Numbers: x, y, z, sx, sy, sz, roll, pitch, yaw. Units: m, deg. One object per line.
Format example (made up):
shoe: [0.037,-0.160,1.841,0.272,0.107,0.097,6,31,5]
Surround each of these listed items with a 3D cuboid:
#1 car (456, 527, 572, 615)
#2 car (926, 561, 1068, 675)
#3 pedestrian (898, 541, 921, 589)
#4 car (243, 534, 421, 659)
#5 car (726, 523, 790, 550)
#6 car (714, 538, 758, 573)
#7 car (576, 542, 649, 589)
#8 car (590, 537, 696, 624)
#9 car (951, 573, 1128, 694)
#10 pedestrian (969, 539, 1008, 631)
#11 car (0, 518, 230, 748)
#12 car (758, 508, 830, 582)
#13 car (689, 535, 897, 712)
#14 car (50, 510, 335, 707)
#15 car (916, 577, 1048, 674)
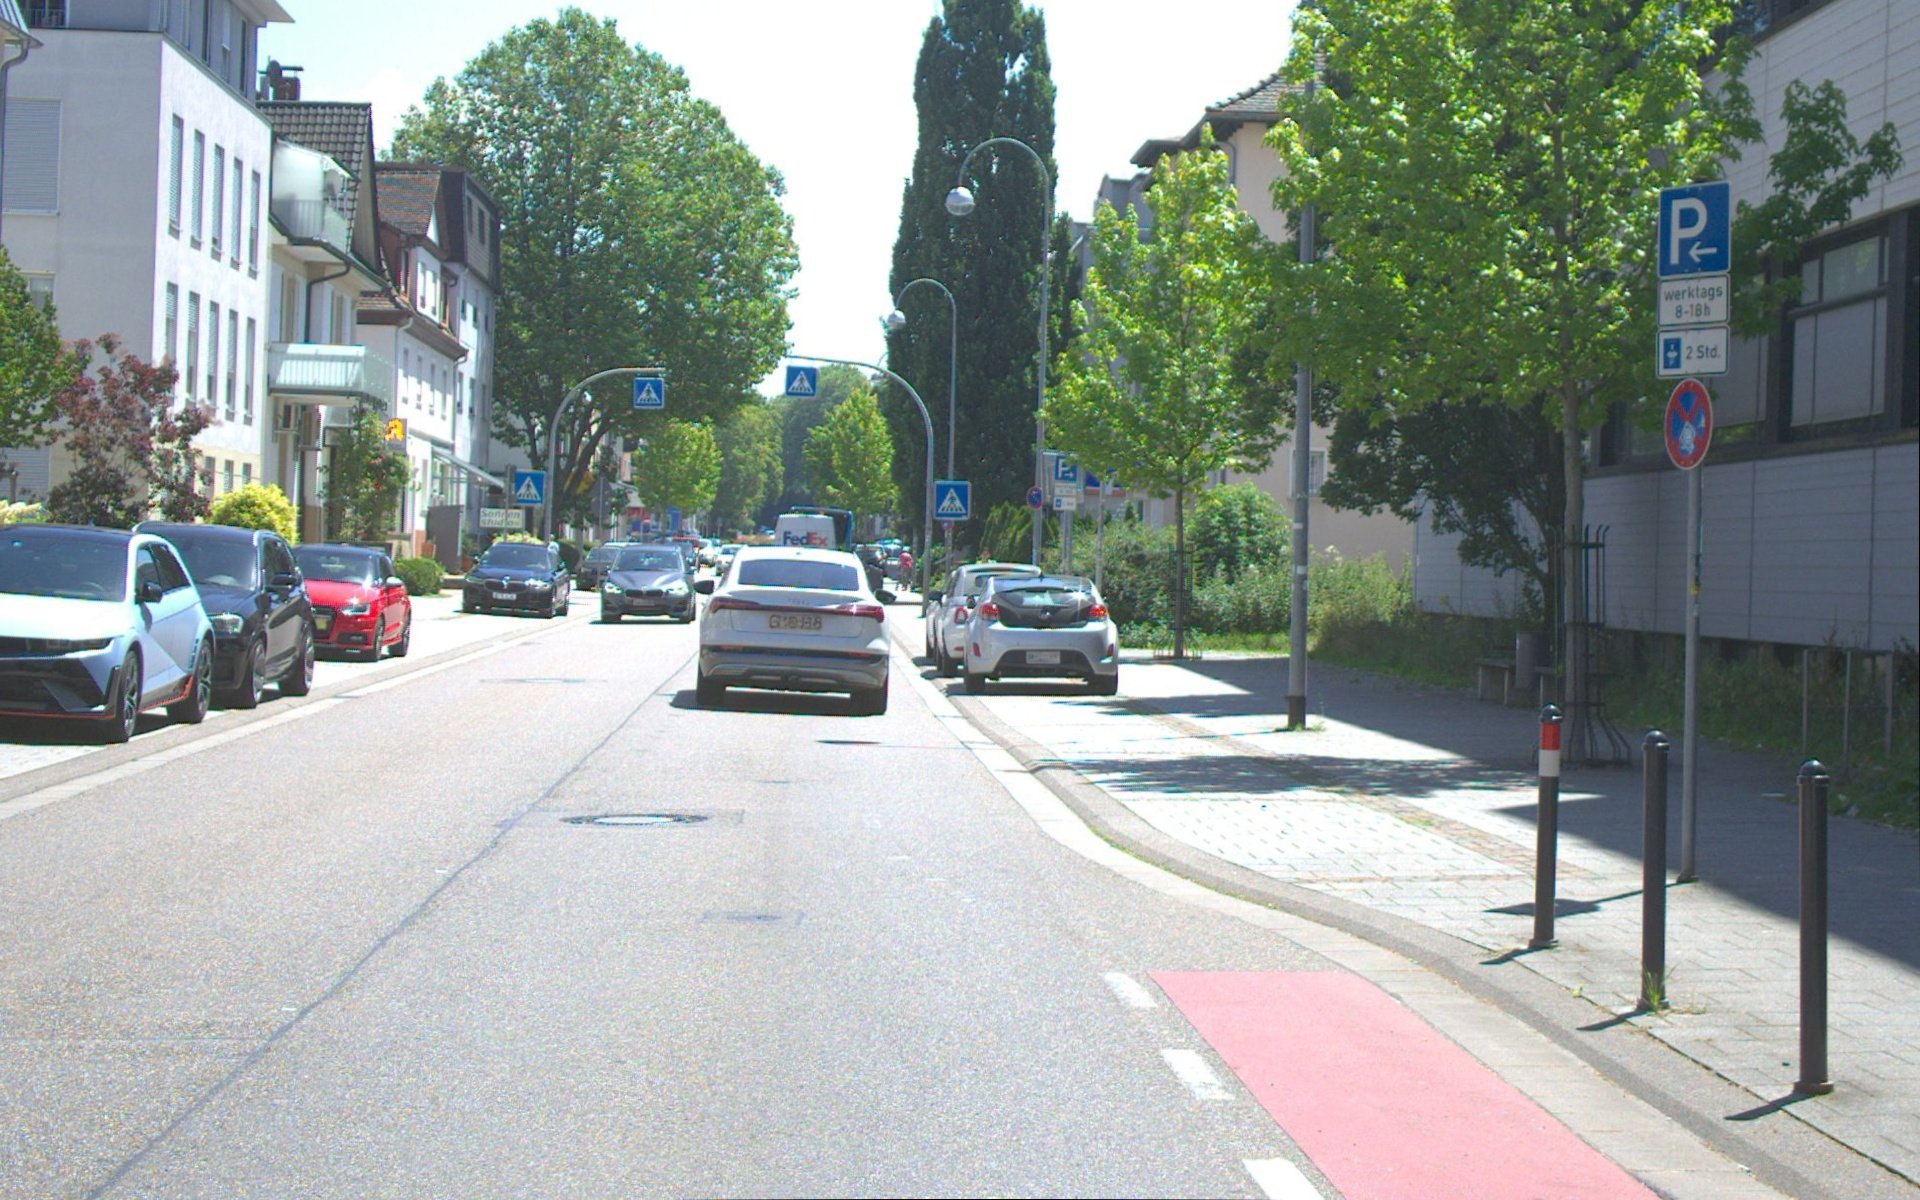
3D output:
car: [-9.252,-0.608,71.616,1.925,1.714,4.472,2,0,-2]
car: [0.470,0.222,47.456,1.658,1.483,4.346,1,1,-3]
pedestrian: [-1.841,-1.268,125.697,0.693,1.730,0.668,2,0,-7]
car: [-8.070,-0.066,44.458,1.649,1.414,3.906,5,0,-3]
car: [-13.492,-4.238,229.868,3.988,1.645,2.000,2,0,5]
car: [-10.439,-2.068,160.270,1.978,1.515,4.001,2,1,-3]
car: [-10.630,-1.056,105.324,1.993,1.345,4.001,2,1,-3]
car: [-6.451,-0.407,70.373,1.973,1.665,4.472,2,0,-4]
car: [0.912,0.374,41.598,1.862,1.368,4.001,0,1,-3]
pedestrian: [0.553,-0.296,67.063,0.637,1.752,0.617,2,0,-7]
car: [-7.212,0.183,27.163,1.926,1.567,4.659,5,0,-2]
car: [-5.113,-1.684,105.206,2.069,2.189,5.139,0,1,-4]
car: [-1.714,0.208,35.872,1.936,1.609,4.472,4,0,-2]
car: [-7.279,0.051,33.027,1.725,1.614,4.571,5,0,-2]
car: [0.293,0.361,52.208,1.725,1.378,4.402,1,1,-3]
